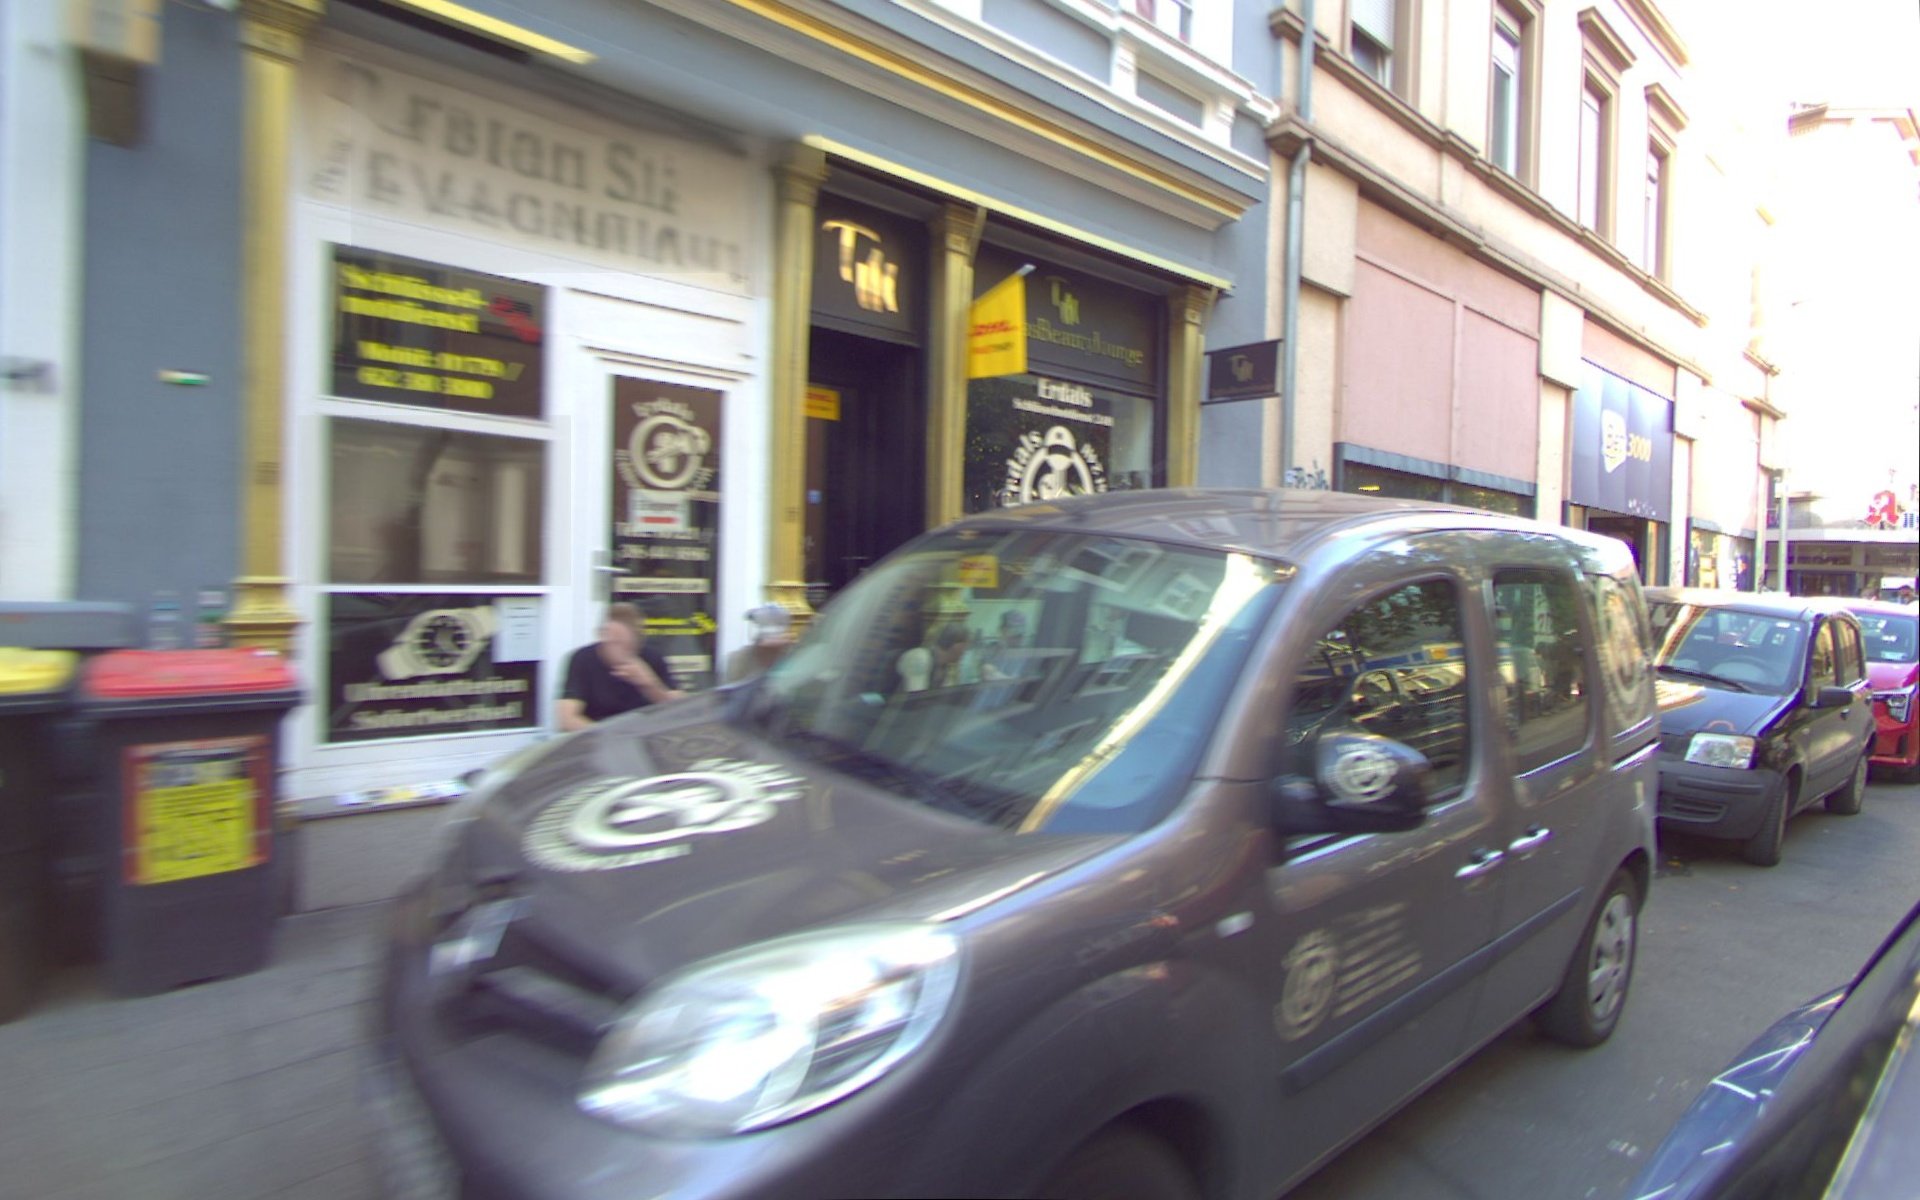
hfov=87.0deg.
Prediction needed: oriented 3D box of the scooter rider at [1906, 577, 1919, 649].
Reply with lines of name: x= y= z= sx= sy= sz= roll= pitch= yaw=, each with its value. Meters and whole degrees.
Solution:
scooter rider: x=22.685 y=0.296 z=23.717 sx=0.708 sy=1.668 sz=0.688 roll=-1 pitch=1 yaw=-41

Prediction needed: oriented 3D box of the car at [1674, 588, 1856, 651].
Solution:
car: x=21.872 y=0.464 z=27.597 sx=1.757 sy=1.504 sz=3.581 roll=-1 pitch=2 yaw=-40

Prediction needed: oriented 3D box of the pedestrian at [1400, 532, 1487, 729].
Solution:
pedestrian: x=4.537 y=0.267 z=9.486 sx=0.627 sy=1.762 sz=0.650 roll=0 pitch=1 yaw=37

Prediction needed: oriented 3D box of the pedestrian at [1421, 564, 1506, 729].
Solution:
pedestrian: x=4.970 y=0.430 z=9.981 sx=0.587 sy=1.549 sz=0.648 roll=0 pitch=1 yaw=45

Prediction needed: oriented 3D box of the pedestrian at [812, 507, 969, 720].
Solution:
pedestrian: x=-0.408 y=0.062 z=5.882 sx=0.642 sy=1.139 sz=0.677 roll=-1 pitch=1 yaw=-38

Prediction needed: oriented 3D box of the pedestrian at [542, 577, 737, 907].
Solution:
pedestrian: x=-1.409 y=0.549 z=4.428 sx=0.617 sy=1.293 sz=0.677 roll=-1 pitch=1 yaw=-38

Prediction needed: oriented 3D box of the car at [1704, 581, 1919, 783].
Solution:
car: x=8.497 y=0.618 z=9.582 sx=3.491 sy=1.592 sz=1.609 roll=-1 pitch=1 yaw=-41

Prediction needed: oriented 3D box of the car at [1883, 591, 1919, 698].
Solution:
car: x=15.912 y=0.642 z=15.872 sx=4.067 sy=1.535 sz=1.789 roll=-1 pitch=1 yaw=-43

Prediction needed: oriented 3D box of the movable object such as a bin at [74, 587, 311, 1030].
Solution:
movable object such as a bin: x=-2.591 y=0.600 z=3.407 sx=0.570 sy=1.258 sz=0.763 roll=-1 pitch=3 yaw=-42

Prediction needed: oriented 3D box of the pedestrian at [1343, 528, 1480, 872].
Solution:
pedestrian: x=2.437 y=0.495 z=5.456 sx=0.643 sy=1.726 sz=0.442 roll=0 pitch=1 yaw=-40

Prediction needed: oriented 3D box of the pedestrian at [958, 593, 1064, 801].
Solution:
pedestrian: x=0.321 y=0.576 z=6.371 sx=0.505 sy=1.238 sz=0.439 roll=0 pitch=1 yaw=-38

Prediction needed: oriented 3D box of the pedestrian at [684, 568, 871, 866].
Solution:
pedestrian: x=-0.882 y=0.499 z=4.853 sx=0.642 sy=1.293 sz=0.677 roll=-1 pitch=1 yaw=-38

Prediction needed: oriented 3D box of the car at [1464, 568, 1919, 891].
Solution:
car: x=5.005 y=0.631 z=6.815 sx=3.254 sy=1.575 sz=1.575 roll=-1 pitch=5 yaw=-38

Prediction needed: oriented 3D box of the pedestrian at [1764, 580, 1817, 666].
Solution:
pedestrian: x=16.557 y=0.453 z=20.187 sx=0.455 sy=1.671 sz=0.602 roll=3 pitch=0 yaw=-9

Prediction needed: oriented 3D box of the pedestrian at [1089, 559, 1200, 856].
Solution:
pedestrian: x=1.133 y=0.636 z=6.264 sx=0.551 sy=1.762 sz=0.428 roll=0 pitch=0 yaw=-11

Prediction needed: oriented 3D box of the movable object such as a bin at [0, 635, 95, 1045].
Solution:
movable object such as a bin: x=-3.028 y=0.686 z=3.008 sx=0.674 sy=1.105 sz=0.726 roll=0 pitch=1 yaw=-42

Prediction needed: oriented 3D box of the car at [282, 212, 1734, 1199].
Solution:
car: x=0.619 y=0.513 z=3.047 sx=4.240 sy=1.816 sz=1.902 roll=-1 pitch=1 yaw=-41
